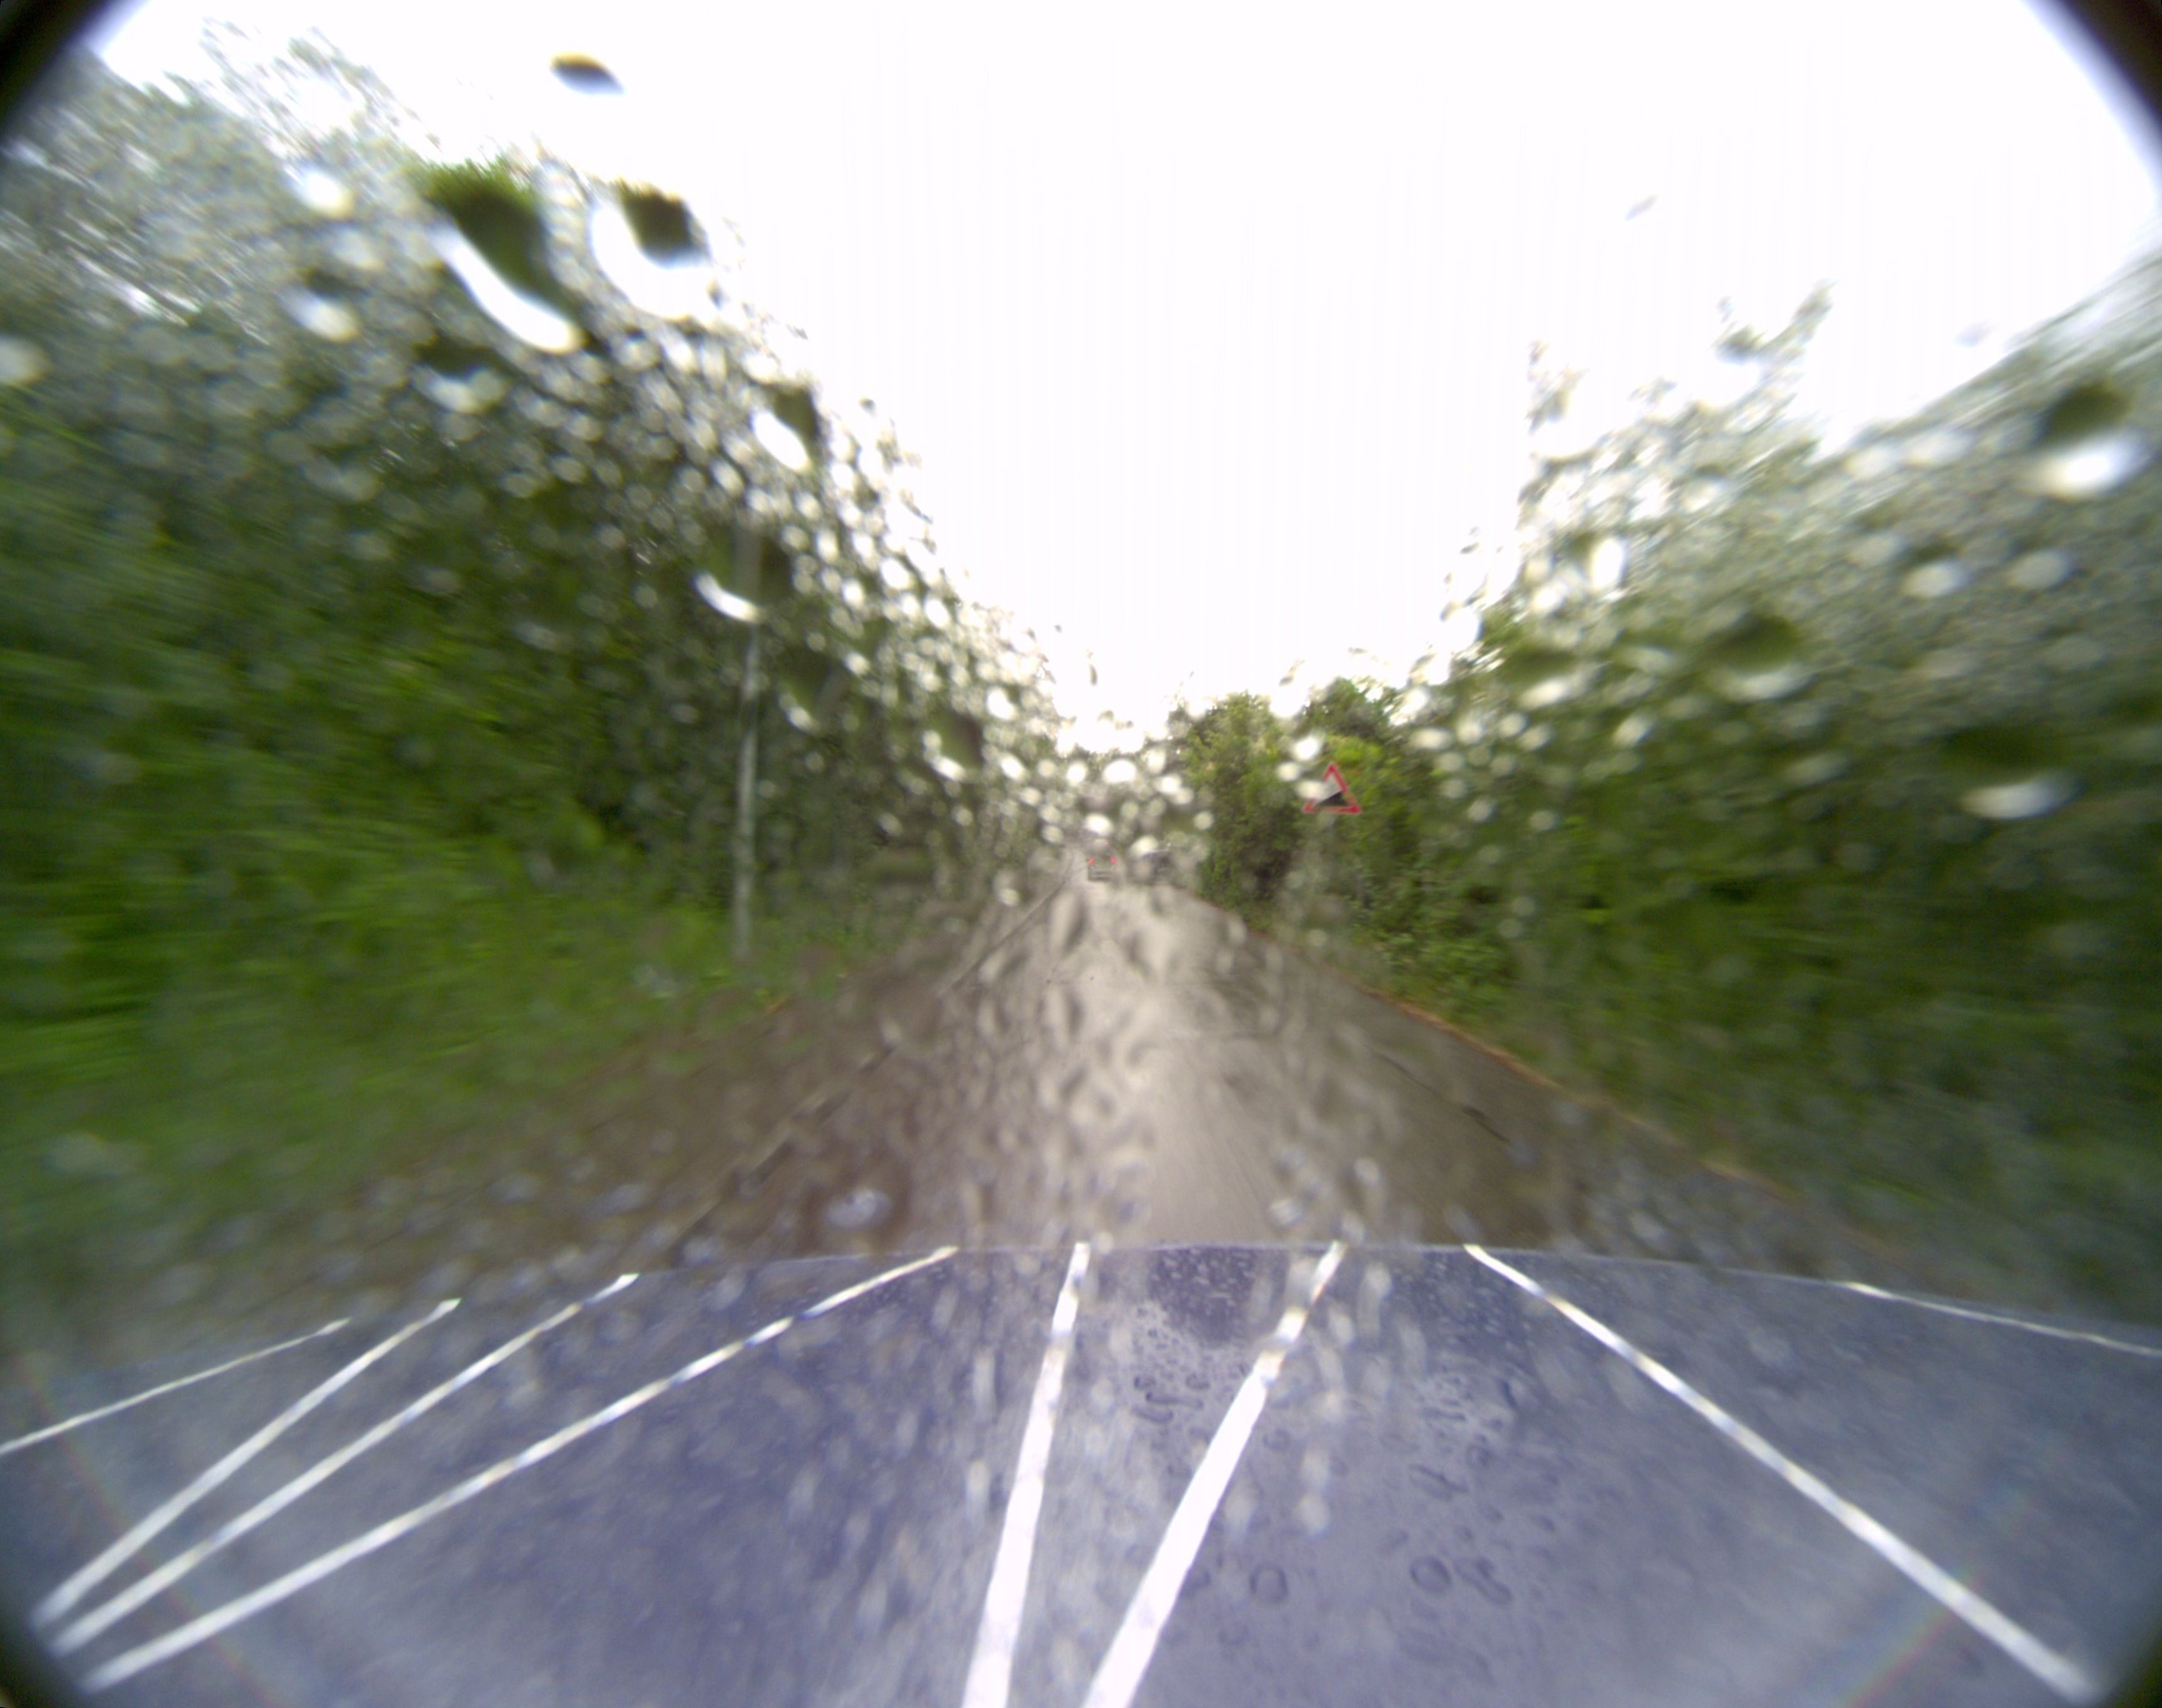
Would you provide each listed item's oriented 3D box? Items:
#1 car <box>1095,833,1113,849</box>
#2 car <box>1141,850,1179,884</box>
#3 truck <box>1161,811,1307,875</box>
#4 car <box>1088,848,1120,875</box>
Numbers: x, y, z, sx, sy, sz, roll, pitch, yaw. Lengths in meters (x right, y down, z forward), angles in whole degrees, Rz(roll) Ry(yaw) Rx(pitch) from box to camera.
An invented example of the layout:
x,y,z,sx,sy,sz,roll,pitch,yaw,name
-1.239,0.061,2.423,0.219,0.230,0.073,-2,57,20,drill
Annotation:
x,y,z,sx,sy,sz,roll,pitch,yaw,name
2.674,-1.522,88.193,1.960,1.608,4.678,-2,2,0,car
4.210,0.668,40.940,1.690,1.717,4.068,1,0,1,car
9.720,-0.612,49.310,2.773,3.694,9.227,-3,1,-43,truck
1.473,0.491,50.858,1.927,1.611,4.462,-3,0,0,car
